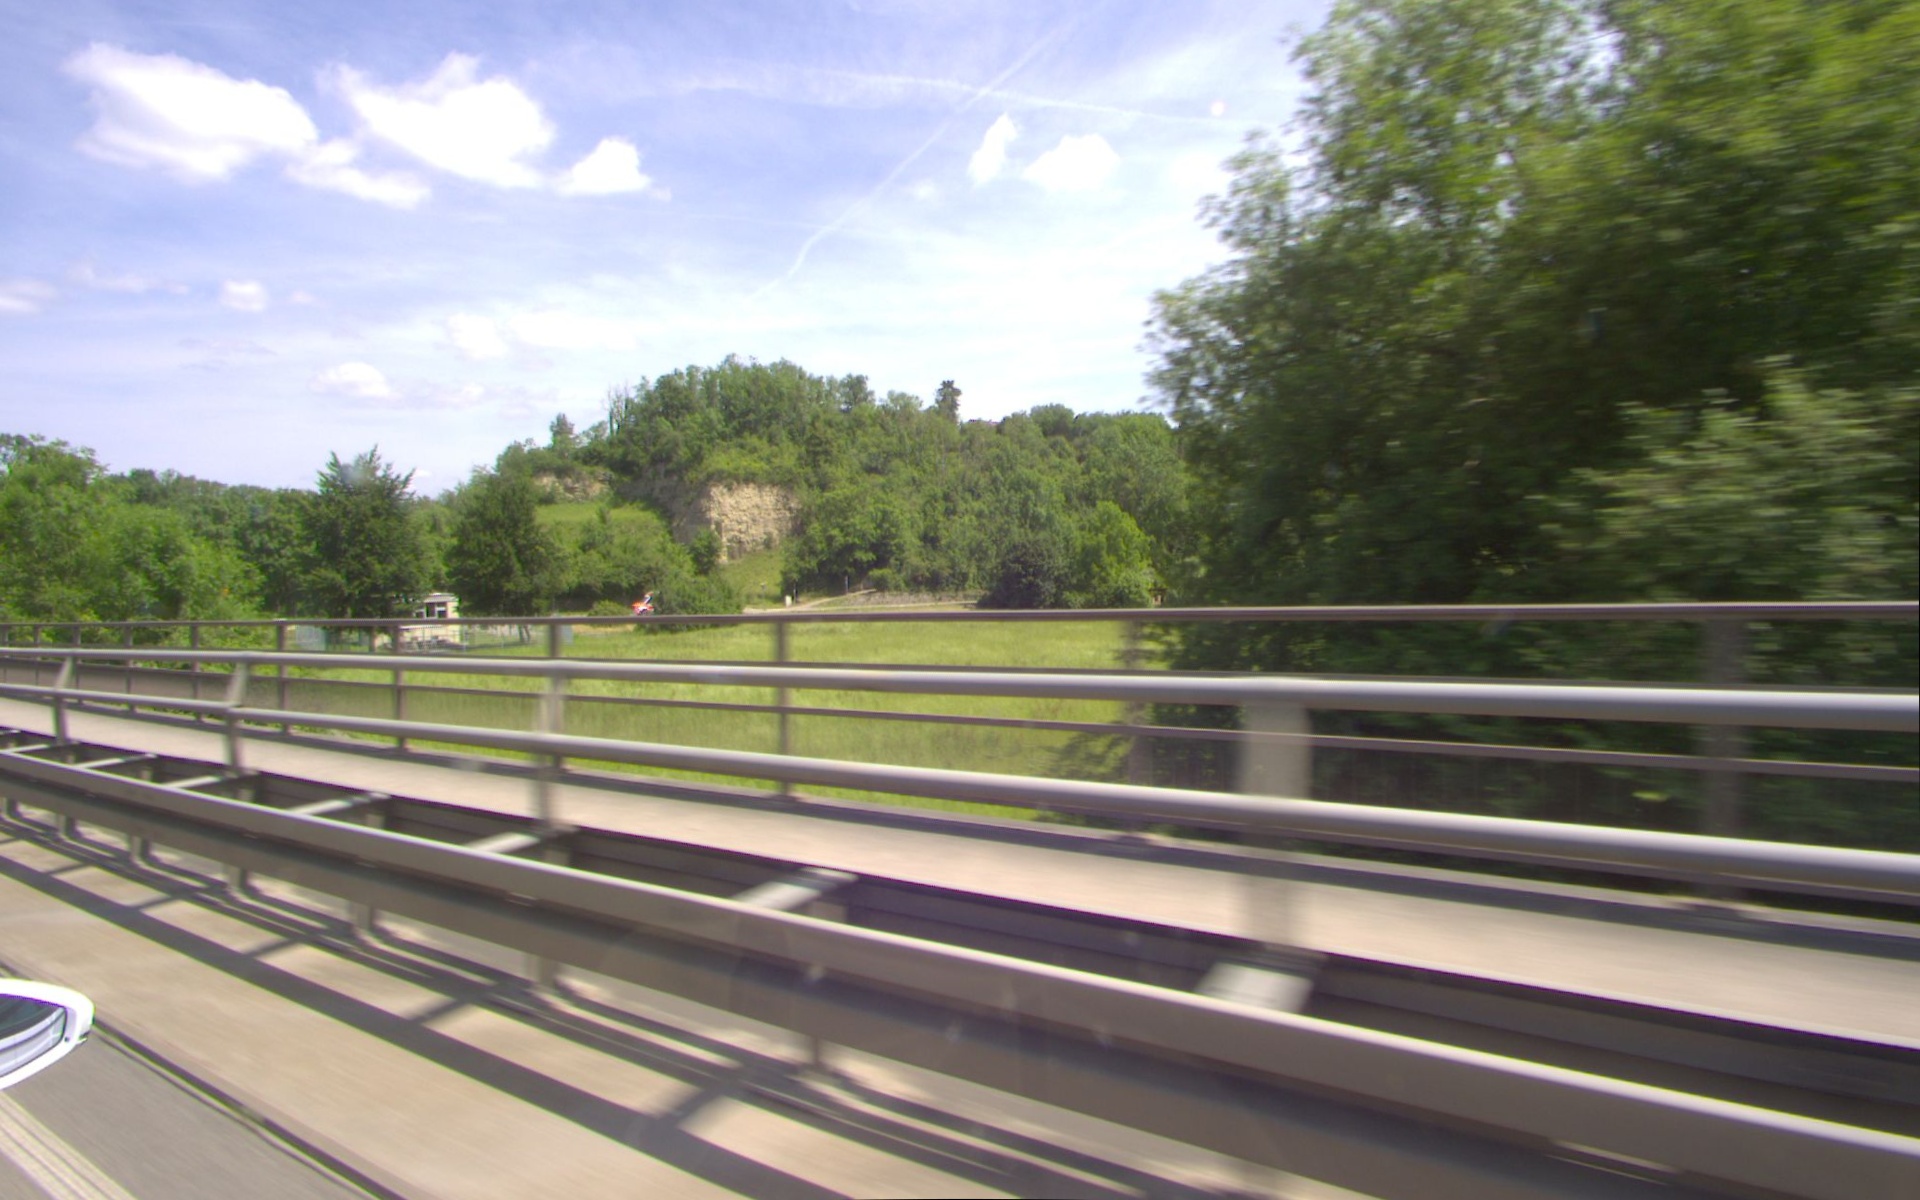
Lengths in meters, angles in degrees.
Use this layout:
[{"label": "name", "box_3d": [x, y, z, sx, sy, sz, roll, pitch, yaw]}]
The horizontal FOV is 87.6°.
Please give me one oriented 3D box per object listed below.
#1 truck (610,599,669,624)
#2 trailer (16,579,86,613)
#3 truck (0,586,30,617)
[{"label": "truck", "box_3d": [-36.602, 1.324, 114.412, 5.947, 2.762, 2.489, 1, -2, -31]}, {"label": "trailer", "box_3d": [-104.758, -0.421, 115.568, 3.210, 3.734, 9.217, 0, 0, -24]}, {"label": "truck", "box_3d": [-95.673, 0.163, 99.890, 2.824, 2.987, 7.065, 0, 0, -31]}]
